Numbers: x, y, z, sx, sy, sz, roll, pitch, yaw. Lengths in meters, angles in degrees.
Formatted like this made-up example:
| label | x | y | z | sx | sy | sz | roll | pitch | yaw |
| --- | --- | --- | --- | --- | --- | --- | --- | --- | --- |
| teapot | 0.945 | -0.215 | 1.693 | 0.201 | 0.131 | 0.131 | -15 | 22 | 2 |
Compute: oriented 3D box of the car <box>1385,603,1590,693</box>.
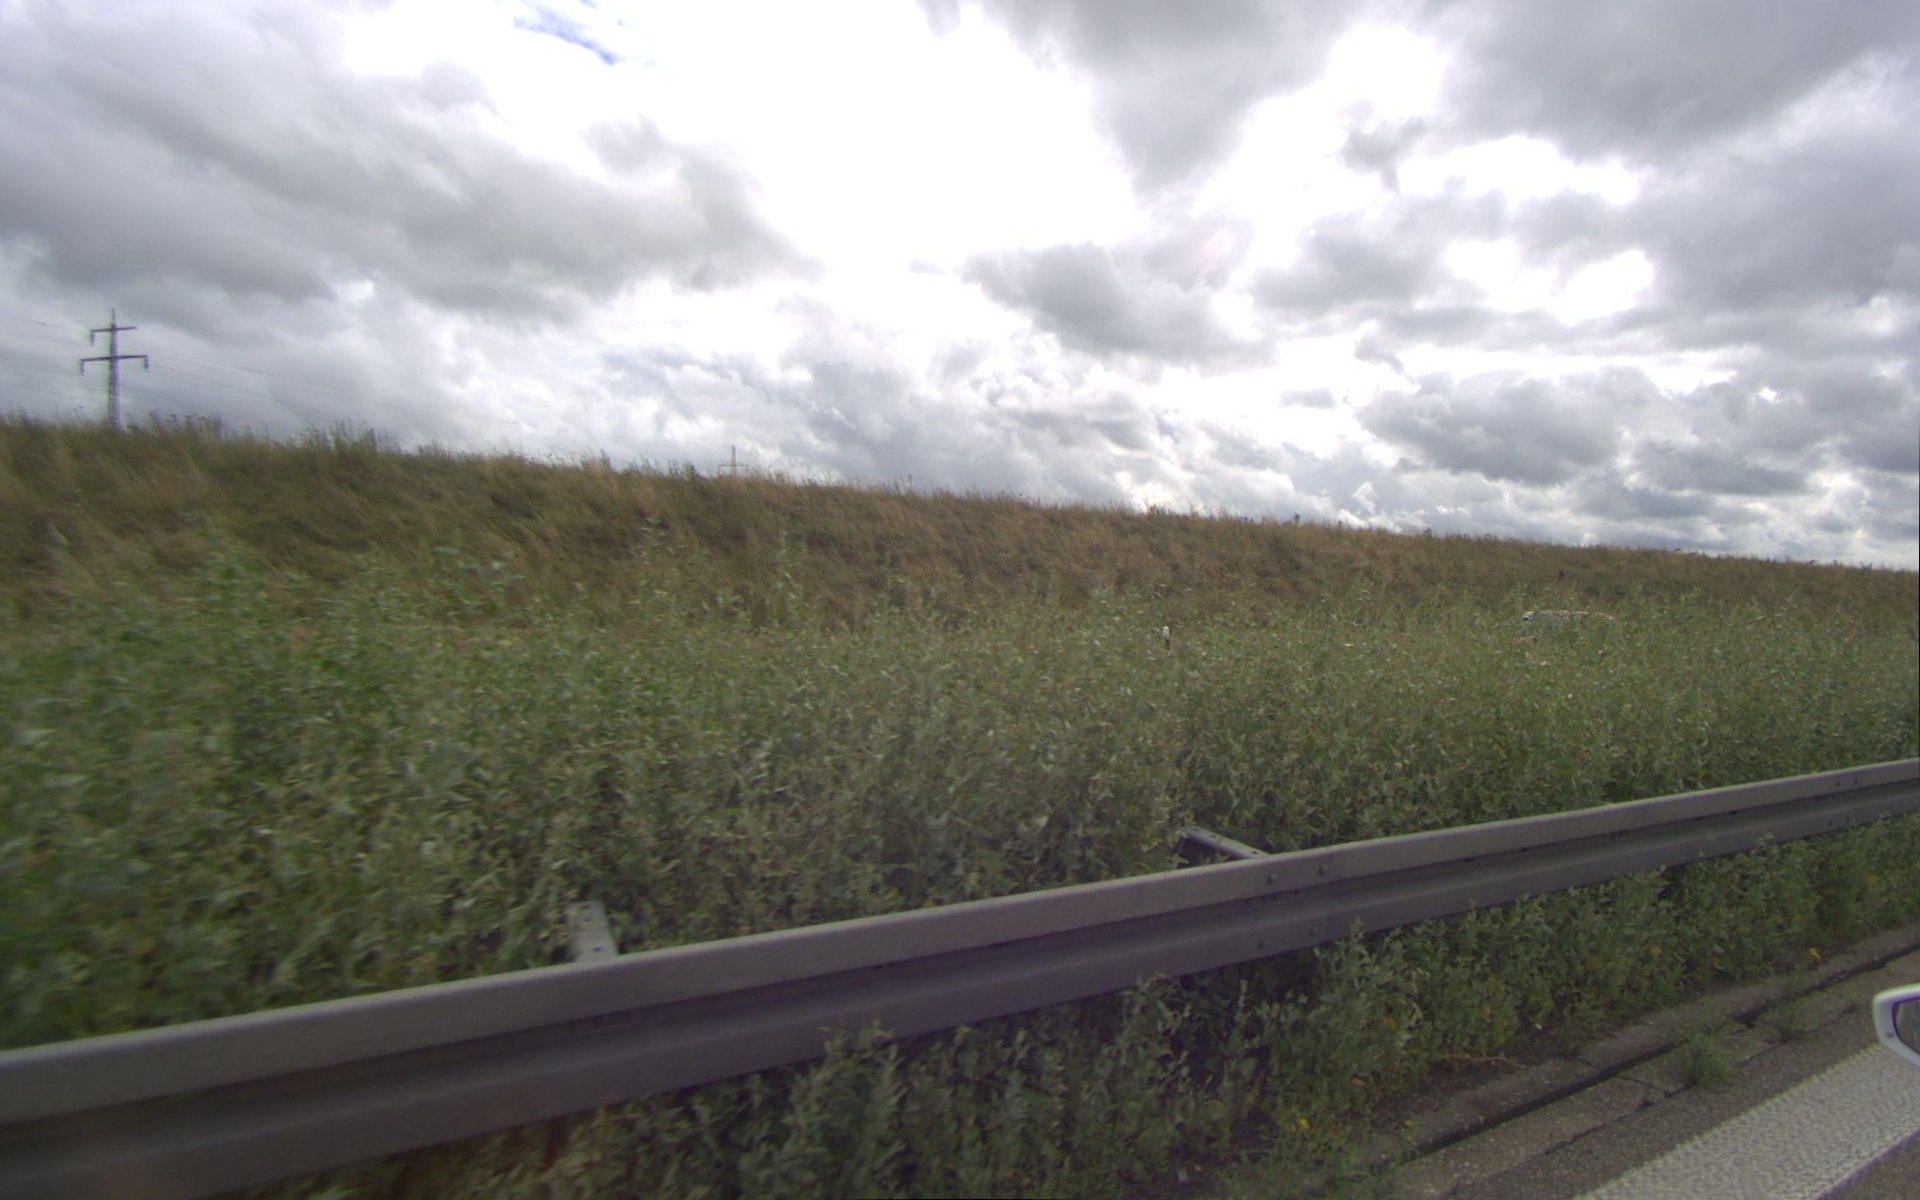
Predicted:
| label | x | y | z | sx | sy | sz | roll | pitch | yaw |
| --- | --- | --- | --- | --- | --- | --- | --- | --- | --- |
| car | 10.382 | 0.926 | 19.728 | 3.954 | 1.576 | 1.724 | 2 | 0 | -31 |
